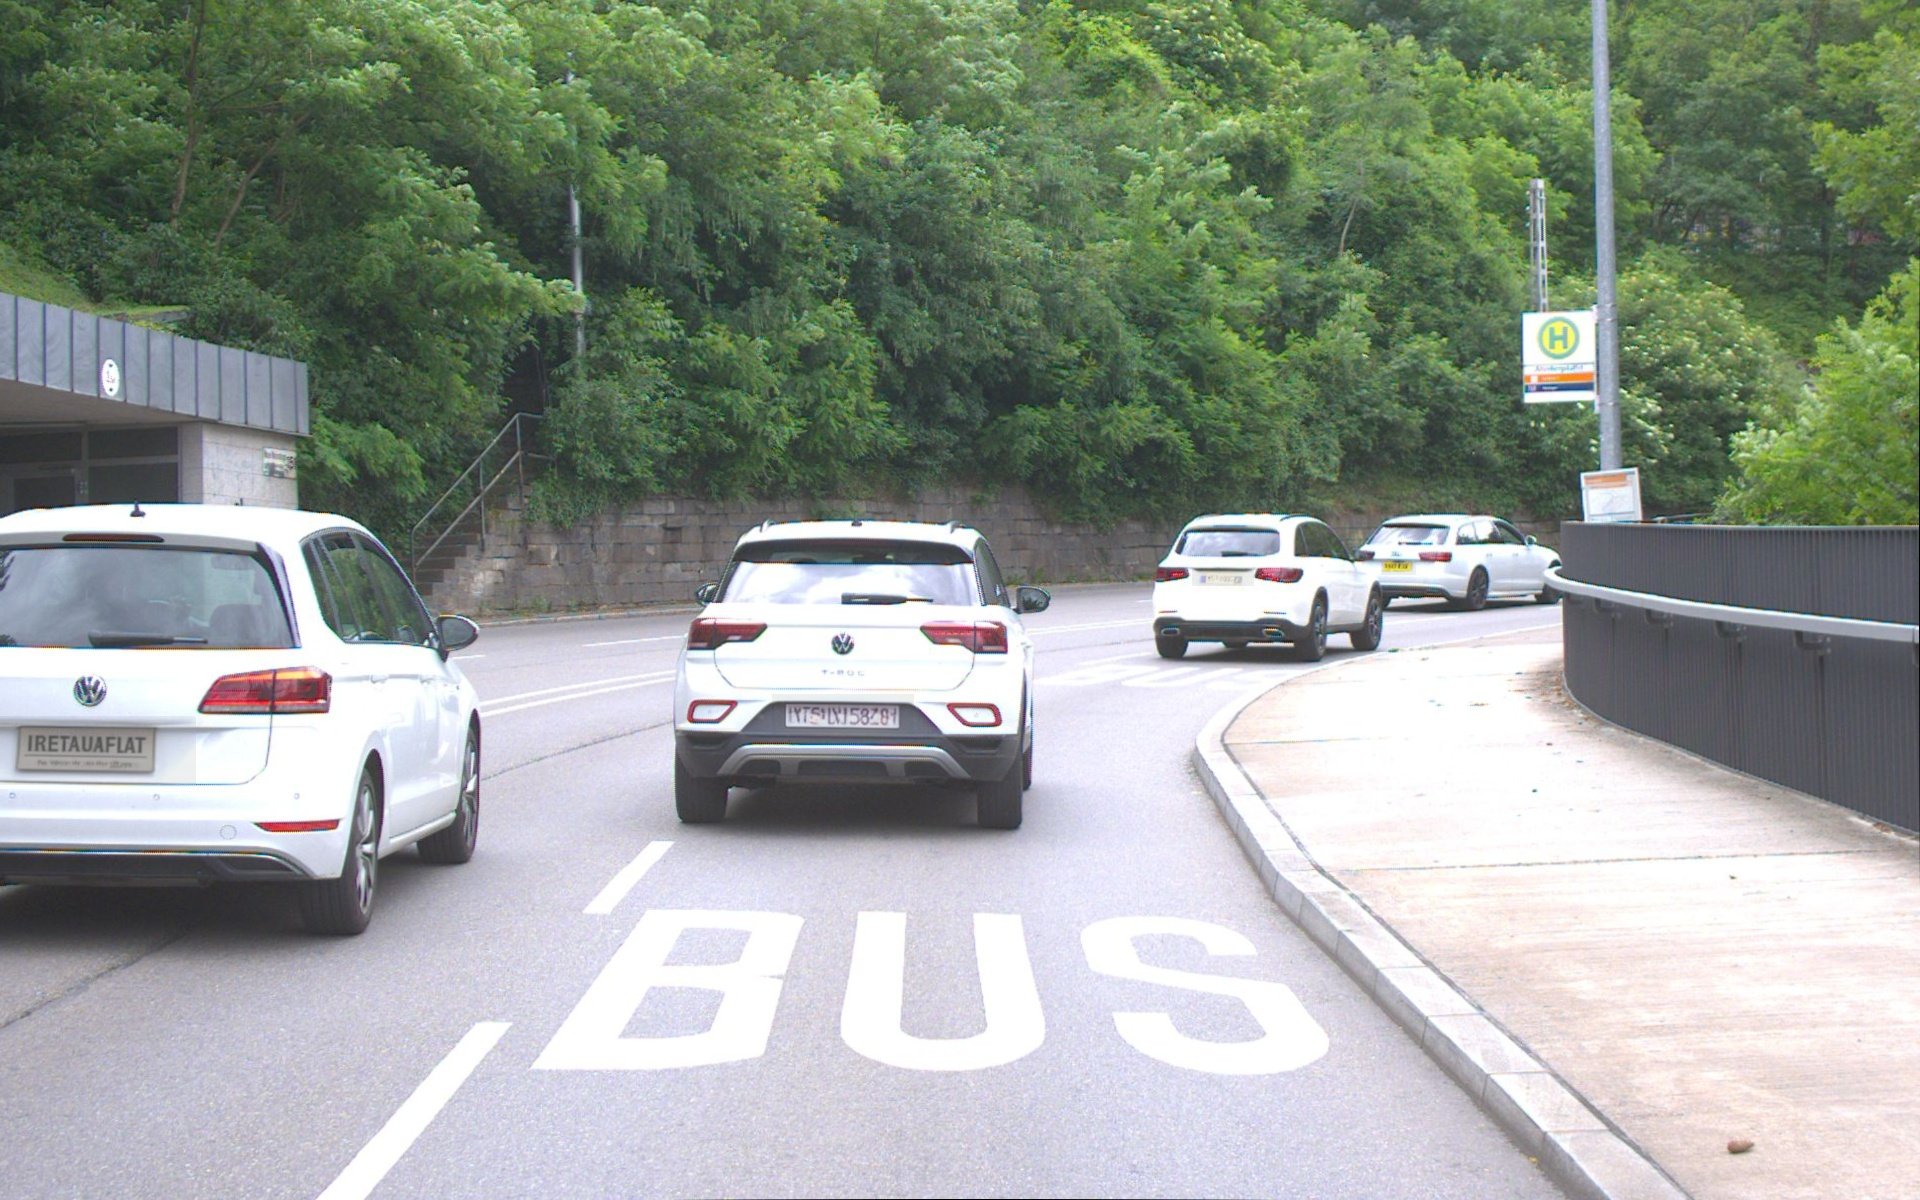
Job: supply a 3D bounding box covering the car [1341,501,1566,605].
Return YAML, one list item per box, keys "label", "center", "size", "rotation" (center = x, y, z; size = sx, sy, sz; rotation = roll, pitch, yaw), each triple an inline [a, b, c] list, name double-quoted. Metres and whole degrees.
- label: "car"
  center: [7.755, -0.714, 53.746]
  size: [1.744, 1.514, 4.300]
  rotation: [2, 1, 34]

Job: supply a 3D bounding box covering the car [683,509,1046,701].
- label: "car"
  center: [-0.819, -0.023, 33.026]
  size: [1.995, 1.552, 4.677]
  rotation: [3, 3, 18]

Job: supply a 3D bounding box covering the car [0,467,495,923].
- label: "car"
  center: [-2.982, 0.275, 13.881]
  size: [1.720, 1.549, 4.276]
  rotation: [1, 1, -1]

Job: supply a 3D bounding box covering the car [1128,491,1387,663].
- label: "car"
  center: [3.513, -0.270, 39.857]
  size: [1.995, 1.837, 4.146]
  rotation: [2, 1, 19]

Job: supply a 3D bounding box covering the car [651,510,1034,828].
- label: "car"
  center: [-0.528, 0.322, 18.647]
  size: [1.814, 1.534, 4.008]
  rotation: [0, 0, 2]
